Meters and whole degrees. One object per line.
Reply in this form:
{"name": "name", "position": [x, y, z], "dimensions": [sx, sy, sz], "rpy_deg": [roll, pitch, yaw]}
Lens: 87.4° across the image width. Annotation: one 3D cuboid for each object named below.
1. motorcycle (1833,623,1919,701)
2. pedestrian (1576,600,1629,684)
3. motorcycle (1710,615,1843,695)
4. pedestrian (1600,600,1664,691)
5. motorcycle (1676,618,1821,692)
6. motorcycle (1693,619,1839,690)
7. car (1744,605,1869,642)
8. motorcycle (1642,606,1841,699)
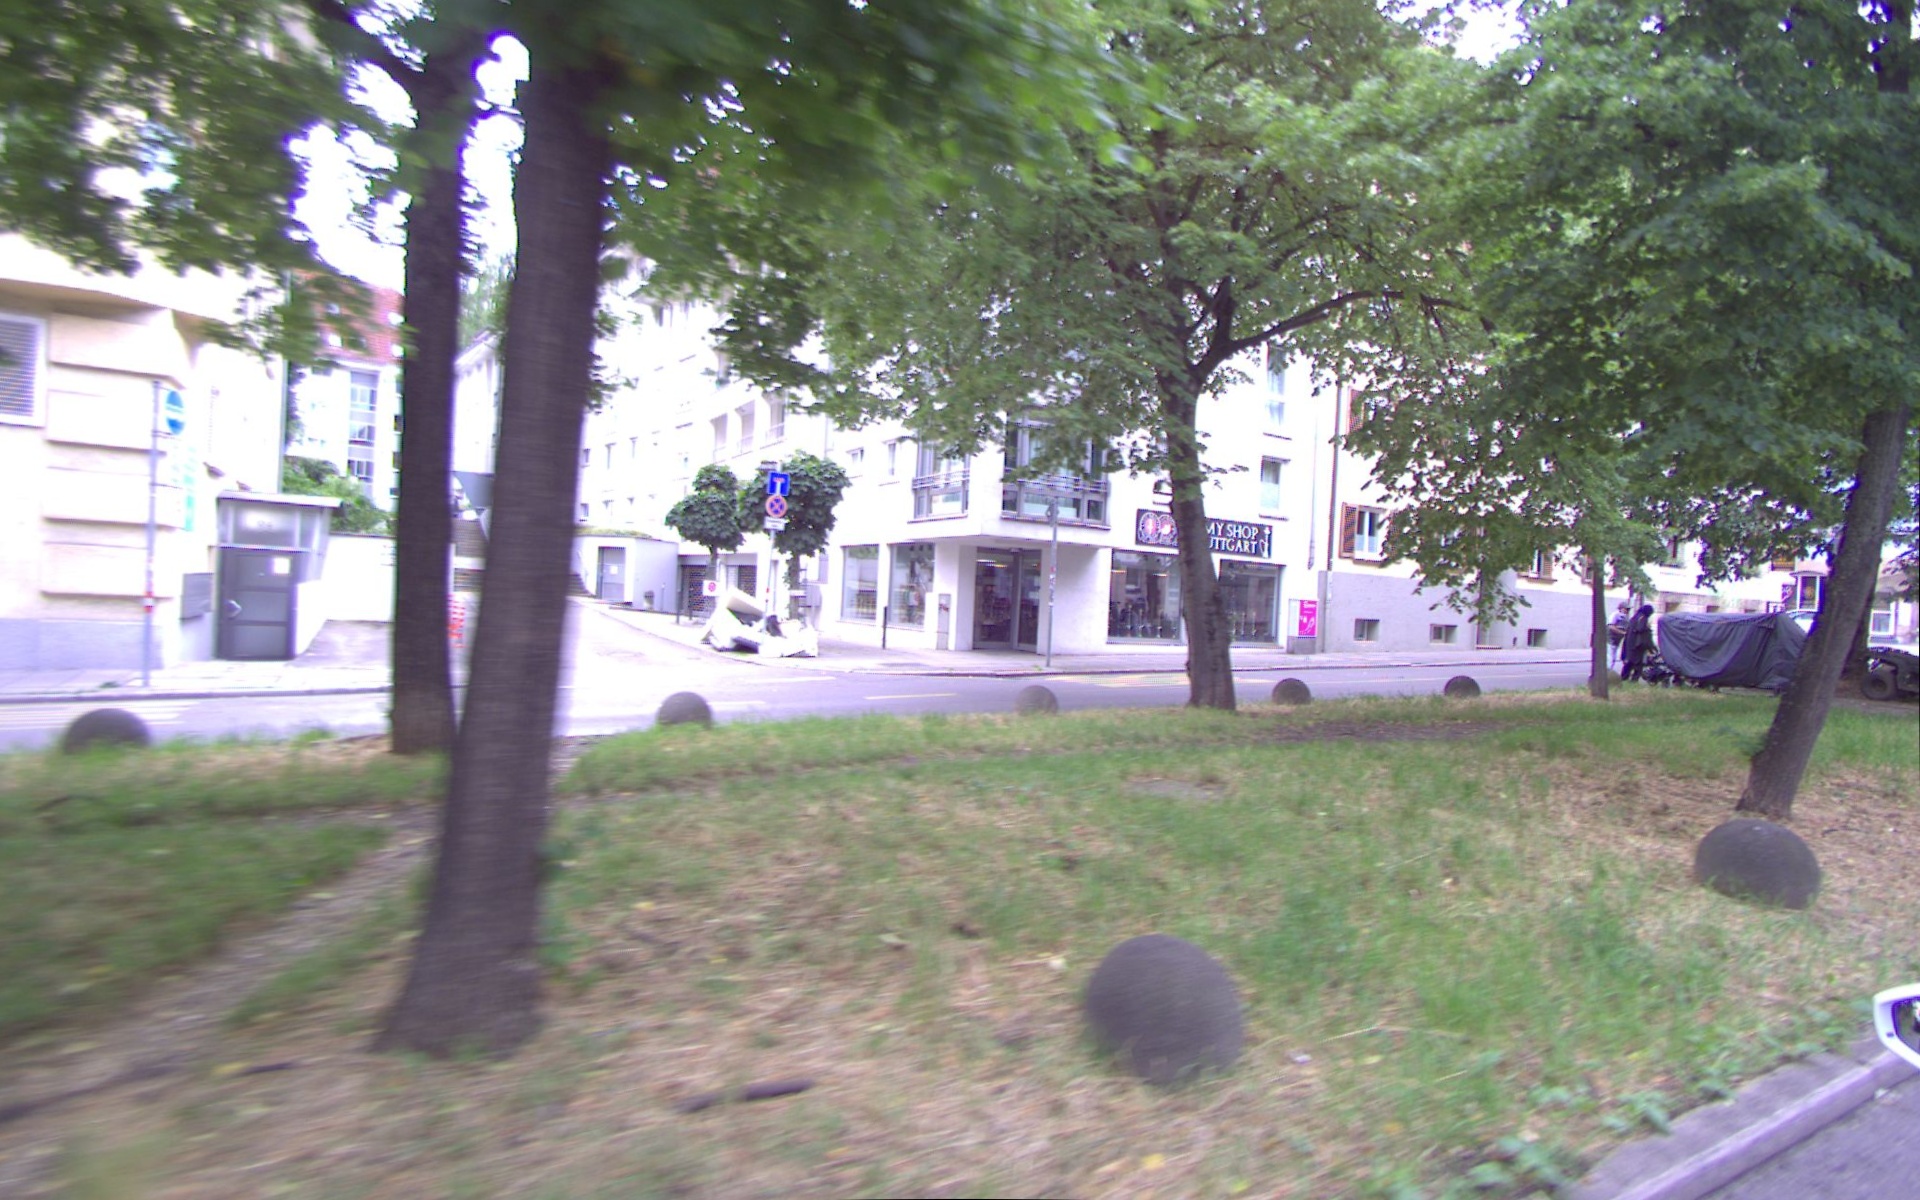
{"name": "motorcycle", "position": [16.322, 1.065, 17.079], "dimensions": [0.884, 1.252, 2.023], "rpy_deg": [1, 1, -24]}
{"name": "pedestrian", "position": [12.919, 0.823, 20.204], "dimensions": [0.572, 1.638, 0.660], "rpy_deg": [1, 2, -28]}
{"name": "motorcycle", "position": [14.807, 0.971, 18.265], "dimensions": [0.617, 1.356, 1.753], "rpy_deg": [1, 0, -31]}
{"name": "pedestrian", "position": [12.552, 0.830, 18.759], "dimensions": [0.753, 1.635, 0.632], "rpy_deg": [1, 2, -24]}
{"name": "motorcycle", "position": [14.983, 1.011, 19.162], "dimensions": [0.510, 1.252, 2.098], "rpy_deg": [1, 1, -31]}
{"name": "motorcycle", "position": [15.561, 1.032, 19.461], "dimensions": [0.615, 1.252, 2.120], "rpy_deg": [2, -1, -30]}
{"name": "car", "position": [39.094, 1.061, 46.478], "dimensions": [1.976, 1.517, 3.968], "rpy_deg": [1, 1, -30]}
{"name": "motorcycle", "position": [12.831, 0.814, 16.588], "dimensions": [1.033, 1.335, 2.370], "rpy_deg": [1, 1, -31]}
